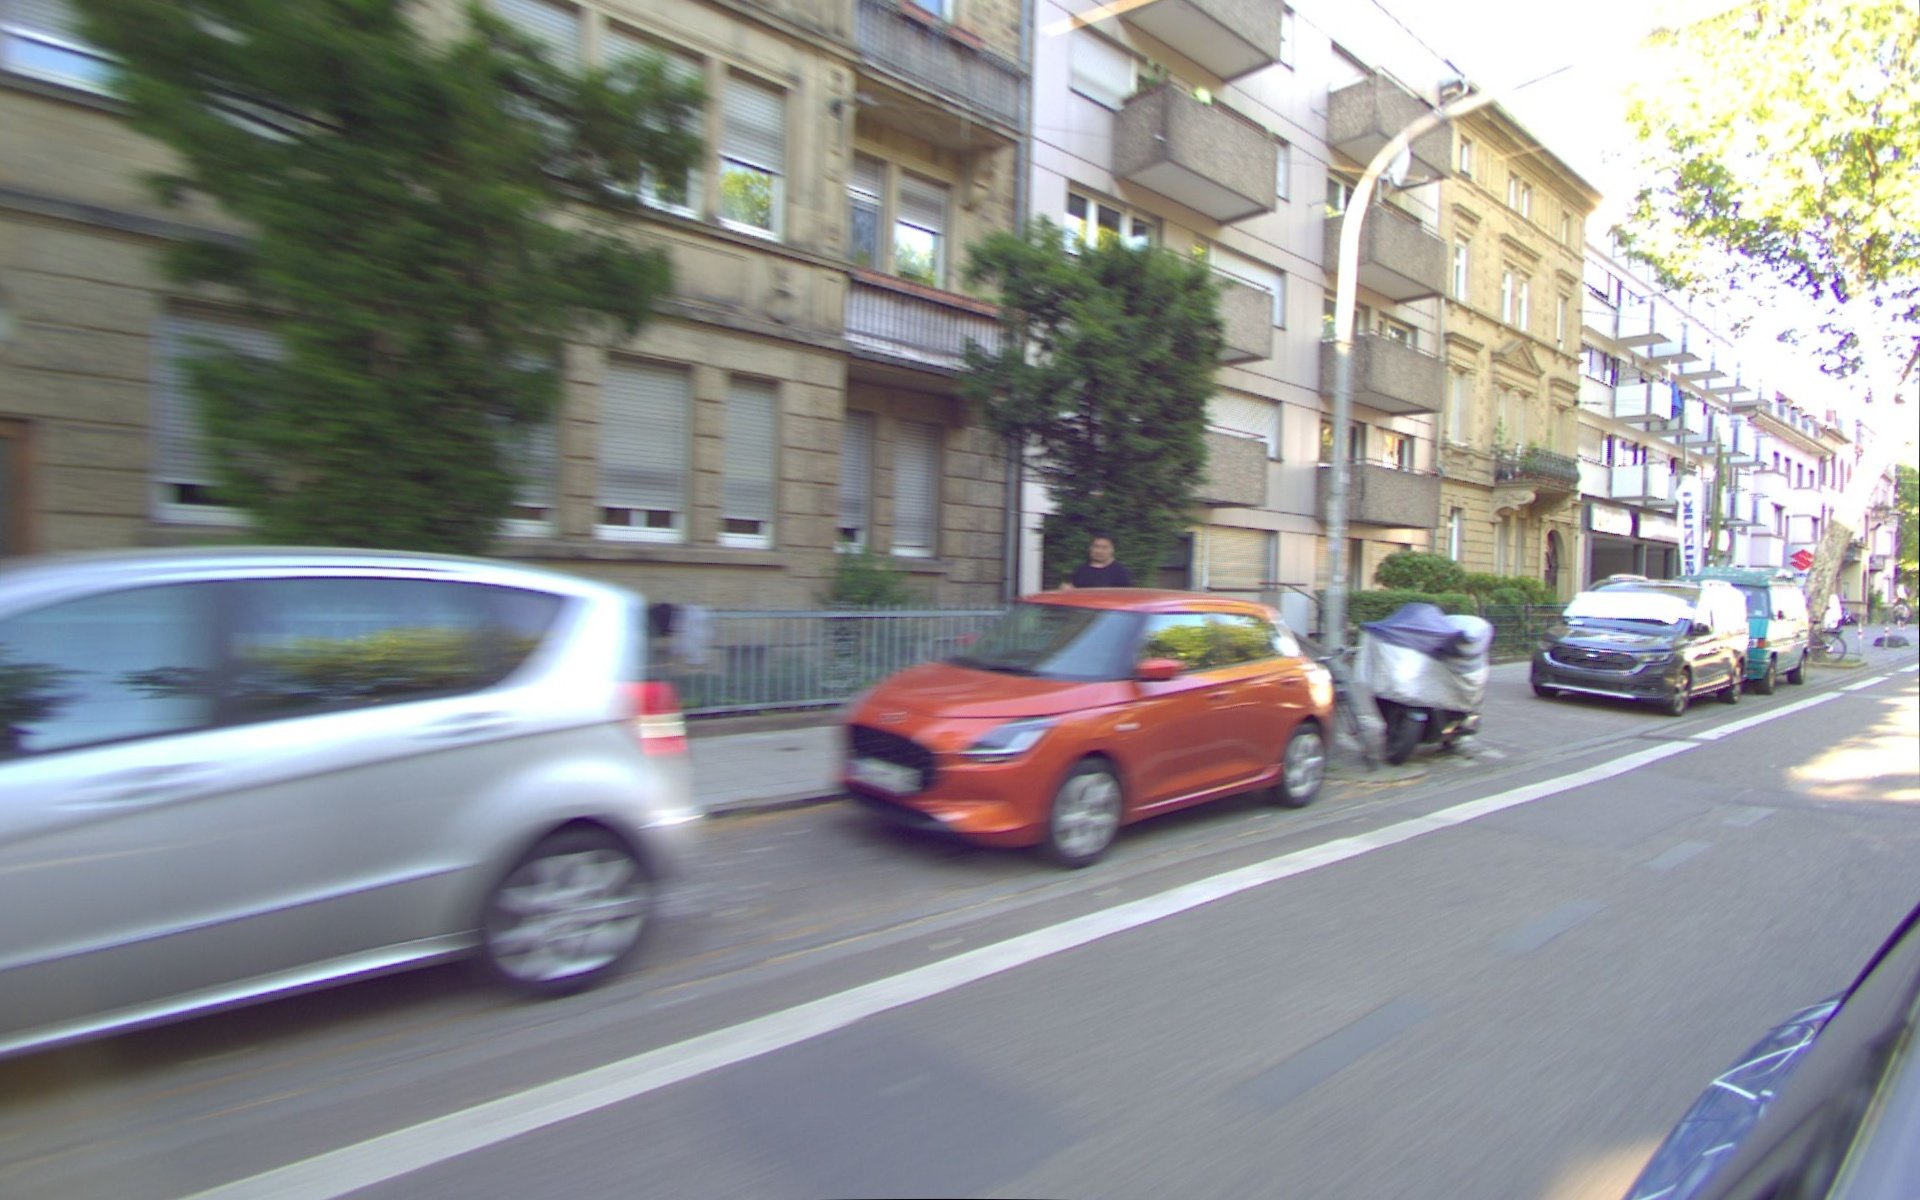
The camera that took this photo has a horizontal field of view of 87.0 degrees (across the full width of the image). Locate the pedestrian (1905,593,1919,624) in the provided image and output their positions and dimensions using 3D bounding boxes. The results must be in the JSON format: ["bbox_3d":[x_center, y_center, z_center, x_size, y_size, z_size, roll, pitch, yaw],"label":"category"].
[{"bbox_3d":[59.435,0.516,62.928,1.131,1.835,0.830,0,2,-43],"label":"pedestrian"}]

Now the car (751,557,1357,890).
[{"bbox_3d":[0.807,0.536,6.893,3.912,1.579,1.997,-1,3,-42],"label":"car"}]

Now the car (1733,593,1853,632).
[{"bbox_3d":[36.905,0.517,44.884,1.879,1.520,3.820,2,1,-40],"label":"car"}]

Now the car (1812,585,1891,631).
[{"bbox_3d":[41.313,0.326,46.846,4.812,1.972,1.898,-1,2,-39],"label":"car"}]

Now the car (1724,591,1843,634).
[{"bbox_3d":[33.529,0.477,41.260,1.709,1.544,3.427,1,2,-39],"label":"car"}]

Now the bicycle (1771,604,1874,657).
[{"bbox_3d":[20.820,0.722,24.462,0.342,1.157,1.848,0,2,-41],"label":"bicycle"}]

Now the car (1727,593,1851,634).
[{"bbox_3d":[35.268,0.541,43.112,1.778,1.533,3.874,1,1,-42],"label":"car"}]

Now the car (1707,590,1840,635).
[{"bbox_3d":[32.080,0.470,39.954,1.827,1.559,3.825,1,2,-42],"label":"car"}]

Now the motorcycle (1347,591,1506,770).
[{"bbox_3d":[4.428,0.656,9.490,0.822,1.415,2.348,5,3,36],"label":"motorcycle"}]

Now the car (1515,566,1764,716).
[{"bbox_3d":[10.229,0.467,15.083,4.676,1.852,1.997,-1,3,-42],"label":"car"}]

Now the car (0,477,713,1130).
[{"bbox_3d":[-2.967,0.500,3.395,3.785,1.711,1.748,-1,3,-41],"label":"car"}]

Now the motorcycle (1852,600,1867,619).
[{"bbox_3d":[59.492,0.630,66.900,0.590,1.151,2.465,3,3,45],"label":"motorcycle"}]

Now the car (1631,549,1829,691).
[{"bbox_3d":[14.367,0.260,18.757,5.146,2.285,1.997,-1,3,-42],"label":"car"}]

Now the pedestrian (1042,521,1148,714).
[{"bbox_3d":[1.439,0.164,10.798,0.800,1.961,0.712,1,1,-41],"label":"pedestrian"}]
